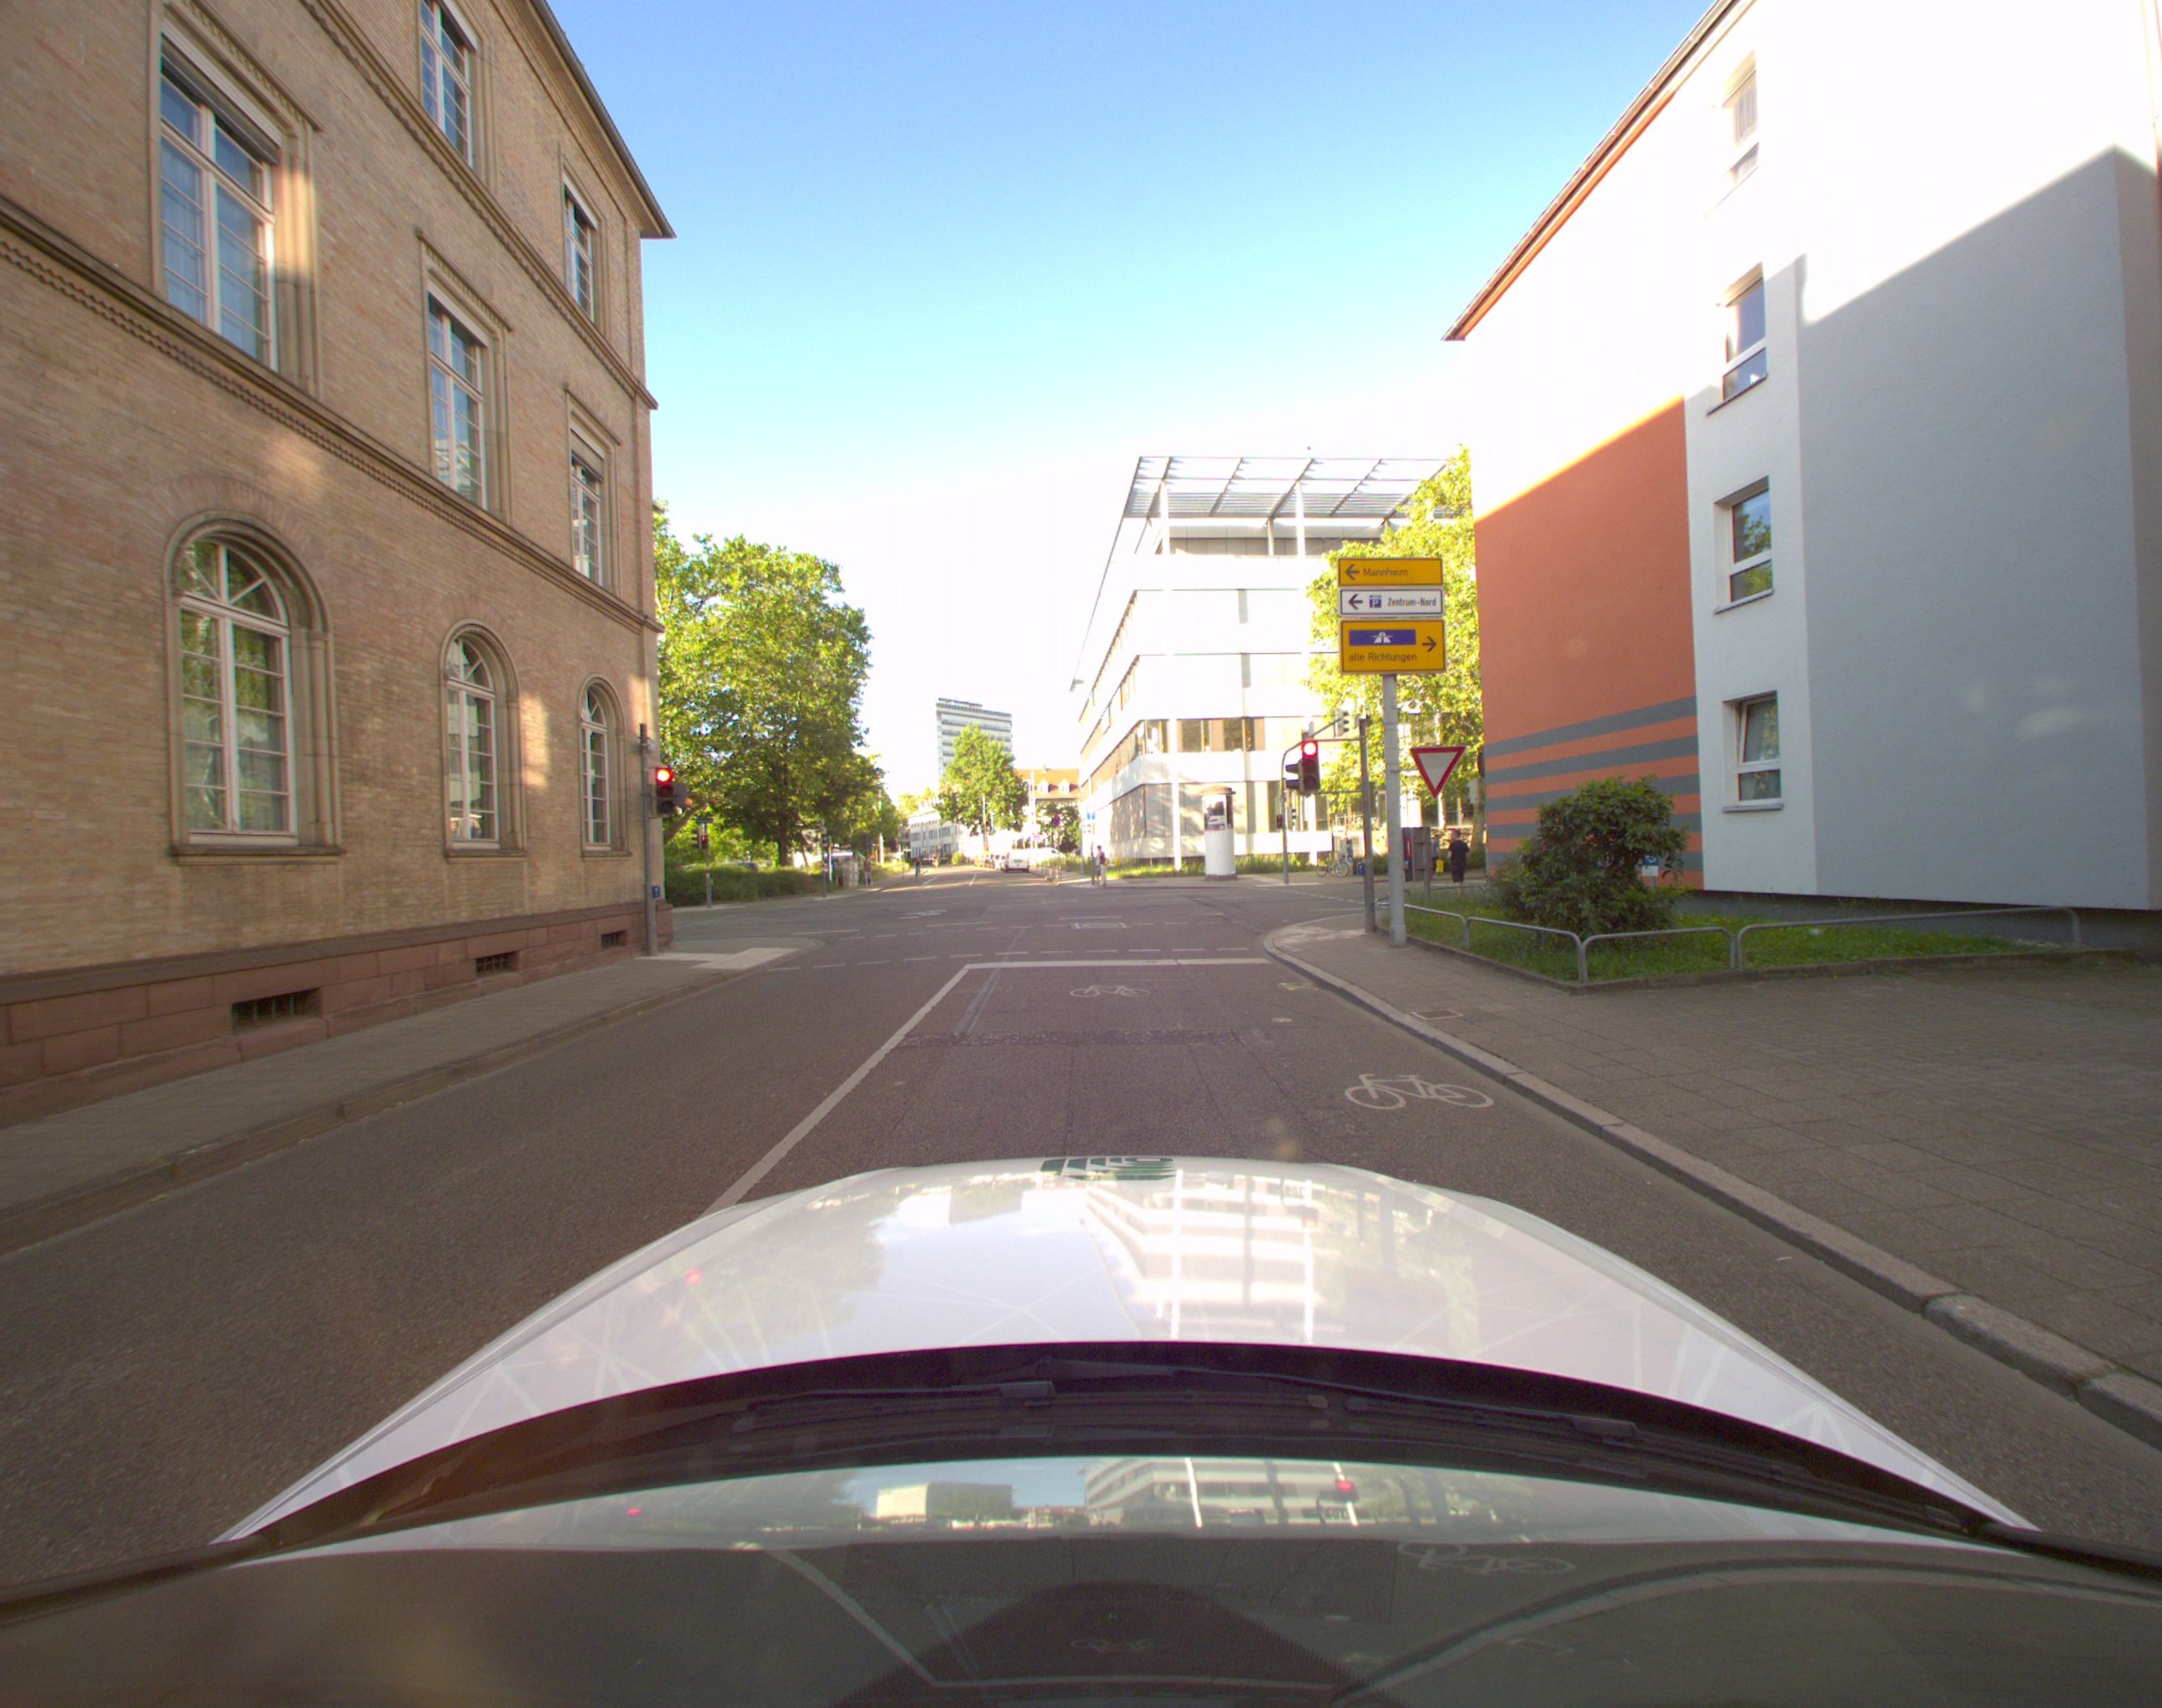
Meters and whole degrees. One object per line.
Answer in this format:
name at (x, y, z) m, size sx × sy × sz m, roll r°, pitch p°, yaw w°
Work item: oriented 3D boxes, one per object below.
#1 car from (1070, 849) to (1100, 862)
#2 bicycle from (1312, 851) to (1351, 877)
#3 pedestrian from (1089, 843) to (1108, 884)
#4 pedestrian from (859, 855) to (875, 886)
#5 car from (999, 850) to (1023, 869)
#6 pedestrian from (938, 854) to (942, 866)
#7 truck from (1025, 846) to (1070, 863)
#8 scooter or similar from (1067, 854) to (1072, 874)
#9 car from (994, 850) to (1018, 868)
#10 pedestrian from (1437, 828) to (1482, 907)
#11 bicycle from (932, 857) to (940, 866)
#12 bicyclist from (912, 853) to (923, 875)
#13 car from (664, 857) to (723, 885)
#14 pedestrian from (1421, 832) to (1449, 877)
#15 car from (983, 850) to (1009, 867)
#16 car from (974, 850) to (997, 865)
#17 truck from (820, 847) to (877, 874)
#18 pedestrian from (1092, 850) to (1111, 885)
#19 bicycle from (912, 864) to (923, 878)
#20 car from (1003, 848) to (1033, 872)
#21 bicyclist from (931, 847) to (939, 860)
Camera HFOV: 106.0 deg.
car at (0.502, 0.156, 104.449) m, size 3.563 × 1.546 × 1.549 m, roll -2°, pitch 0°, yaw -17°
bicycle at (11.028, 0.418, 35.931) m, size 0.510 × 1.049 × 1.670 m, roll -4°, pitch 3°, yaw -33°
pedestrian at (0.831, 0.446, 37.950) m, size 0.555 × 1.850 × 0.680 m, roll -5°, pitch 1°, yaw 18°
pedestrian at (-12.459, 0.964, 47.464) m, size 0.702 × 1.723 × 0.952 m, roll -3°, pitch 0°, yaw -8°
car at (-6.337, 0.494, 73.288) m, size 1.887 × 1.555 × 4.403 m, roll -2°, pitch 1°, yaw -8°
pedestrian at (-18.568, 0.813, 107.241) m, size 0.435 × 1.607 × 0.489 m, roll -2°, pitch 0°, yaw -24°
truck at (-4.249, 0.055, 103.377) m, size 5.351 × 2.013 × 1.988 m, roll -2°, pitch 0°, yaw -17°
scooter or similar at (-0.829, 0.751, 58.765) m, size 0.329 × 1.424 × 1.333 m, roll 0°, pitch -1°, yaw -4°
car at (-7.271, 0.467, 78.685) m, size 1.889 × 1.555 × 4.398 m, roll -2°, pitch 1°, yaw -11°
pedestrian at (8.998, 0.302, 19.376) m, size 0.704 × 1.840 × 0.837 m, roll 0°, pitch 0°, yaw 1°
bicycle at (-17.796, 0.885, 99.859) m, size 0.866 × 1.009 × 2.406 m, roll -5°, pitch 0°, yaw -10°
bicyclist at (-11.924, 0.724, 59.421) m, size 0.615 × 1.532 × 0.901 m, roll -3°, pitch 0°, yaw -7°
car at (-37.172, 1.613, 78.134) m, size 4.551 × 2.391 × 2.069 m, roll -3°, pitch 0°, yaw -7°
pedestrian at (14.800, 0.008, 34.061) m, size 0.834 × 1.840 × 0.707 m, roll 0°, pitch 0°, yaw -8°
car at (-9.030, 0.422, 85.982) m, size 1.893 × 1.655 × 4.390 m, roll -2°, pitch 1°, yaw -16°
car at (-11.280, 0.412, 95.980) m, size 1.893 × 1.655 × 4.390 m, roll -2°, pitch 1°, yaw -16°
truck at (-21.612, 0.579, 75.845) m, size 4.825 × 2.399 × 2.082 m, roll -2°, pitch 0°, yaw -8°
pedestrian at (0.923, 0.604, 37.340) m, size 0.561 × 1.540 × 0.673 m, roll -5°, pitch 1°, yaw -16°
bicycle at (-11.902, 1.247, 59.407) m, size 0.615 × 0.969 × 1.837 m, roll -3°, pitch 0°, yaw -7°
car at (-5.095, 0.442, 64.970) m, size 2.084 × 1.795 × 4.403 m, roll -2°, pitch 1°, yaw -8°
bicyclist at (-17.870, -0.056, 99.904) m, size 0.866 × 1.515 × 1.015 m, roll -5°, pitch 0°, yaw -11°
